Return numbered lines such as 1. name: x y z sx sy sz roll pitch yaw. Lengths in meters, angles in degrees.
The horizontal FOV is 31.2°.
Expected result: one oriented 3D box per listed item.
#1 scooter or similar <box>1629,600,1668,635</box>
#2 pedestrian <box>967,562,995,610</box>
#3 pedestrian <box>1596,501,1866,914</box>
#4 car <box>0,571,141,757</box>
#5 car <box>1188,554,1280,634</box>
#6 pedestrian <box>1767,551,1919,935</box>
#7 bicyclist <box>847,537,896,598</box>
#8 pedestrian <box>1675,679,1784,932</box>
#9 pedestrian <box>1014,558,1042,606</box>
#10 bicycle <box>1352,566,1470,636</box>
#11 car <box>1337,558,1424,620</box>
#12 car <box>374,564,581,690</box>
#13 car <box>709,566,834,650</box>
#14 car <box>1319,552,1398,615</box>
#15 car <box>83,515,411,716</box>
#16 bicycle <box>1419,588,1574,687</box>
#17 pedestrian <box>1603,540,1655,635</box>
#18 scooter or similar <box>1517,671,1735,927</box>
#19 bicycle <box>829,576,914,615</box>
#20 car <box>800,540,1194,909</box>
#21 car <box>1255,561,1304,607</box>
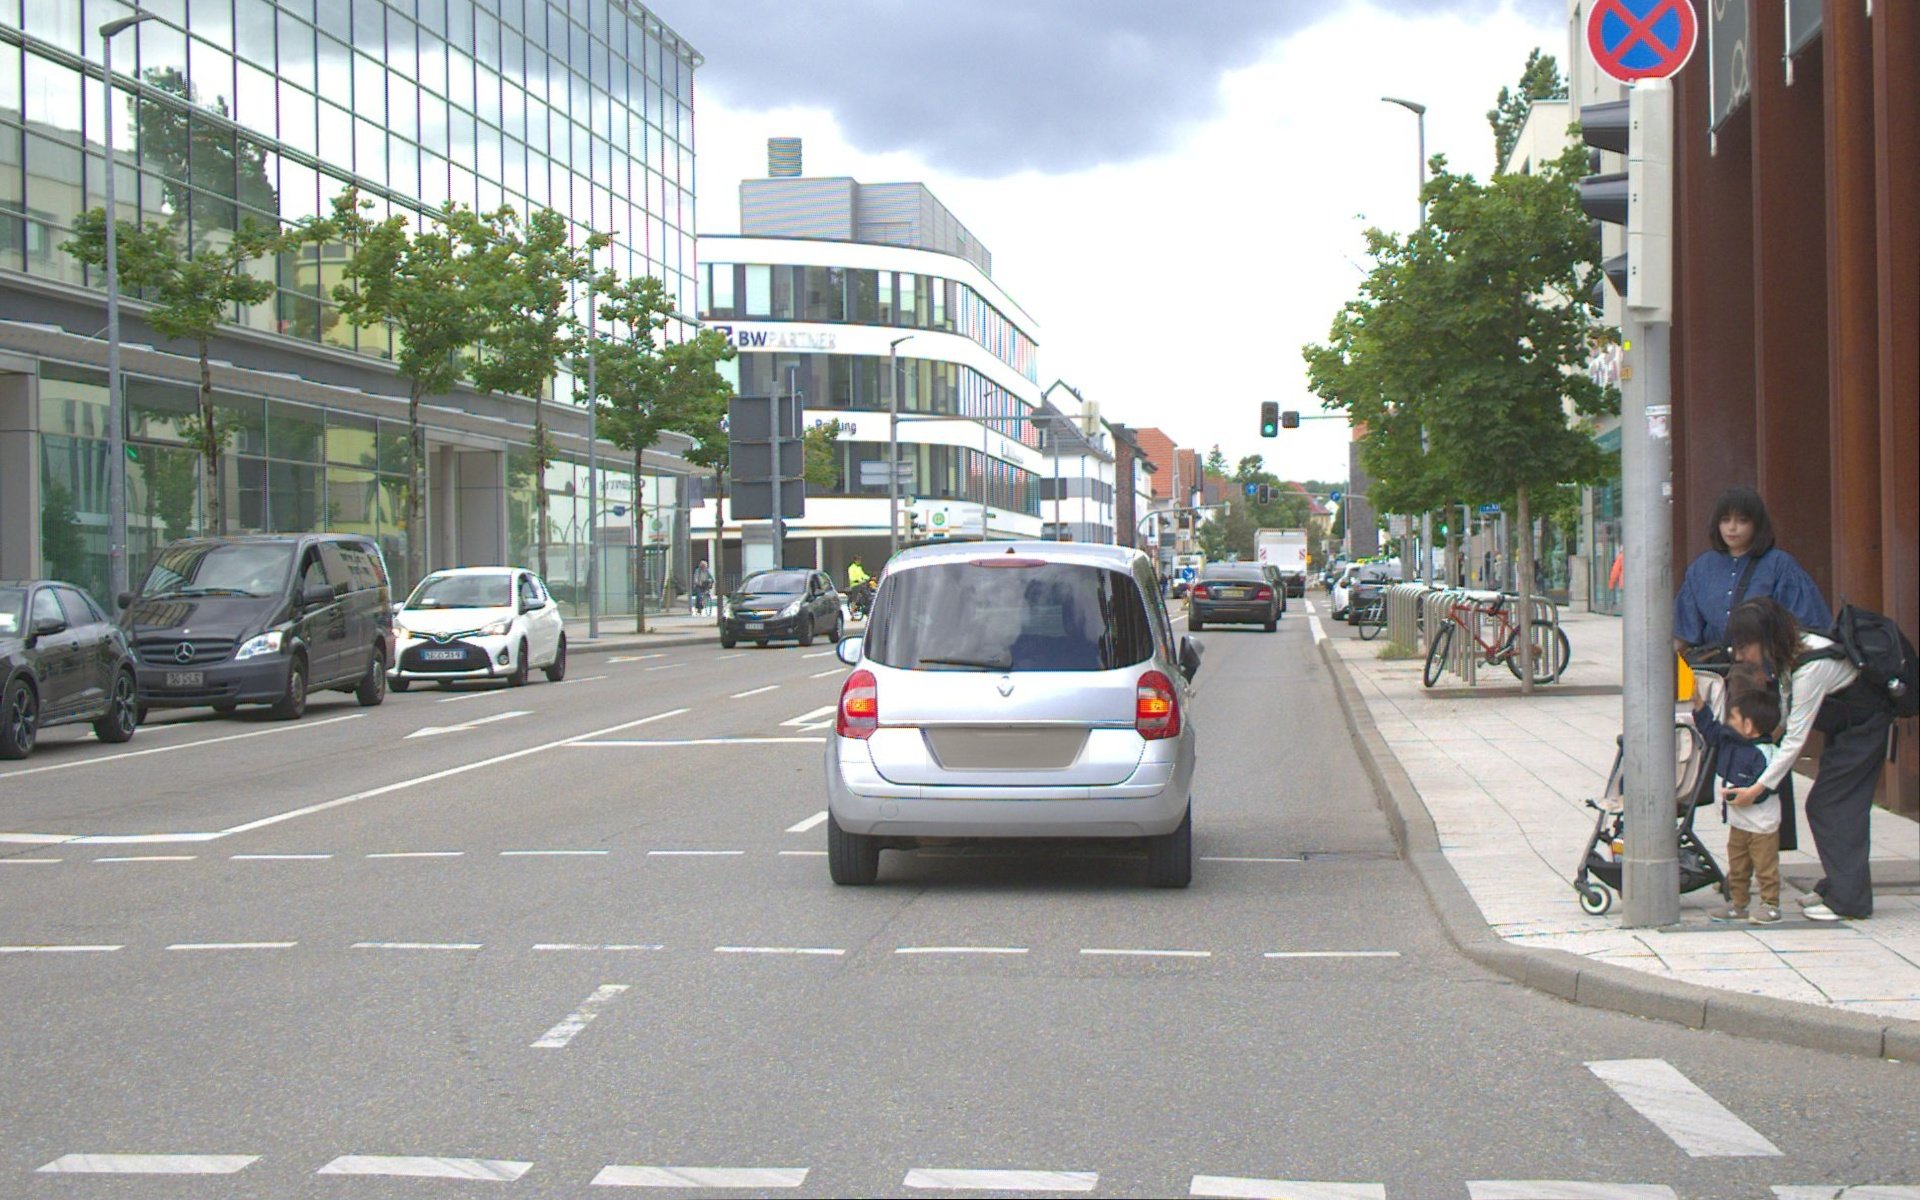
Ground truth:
1. scooter or similar: 11.570 0.293 57.773 0.550 0.544 0.642 -4 0 6
2. pedestrian: 0.813 -0.546 134.202 0.961 1.827 1.250 -1 1 6
3. pedestrian: 3.177 0.417 14.171 0.872 1.641 0.679 0 1 40
4. car: -8.227 0.489 28.514 1.702 1.438 4.000 0 1 3
5. car: 5.605 -0.141 70.020 1.670 1.549 3.641 2 1 7
6. pedestrian: 3.390 0.524 12.992 0.601 1.415 0.582 0 1 8
7. bicyclist: -2.459 -0.914 95.826 1.006 1.655 0.933 1 0 -29
8. pedestrian: 2.911 0.771 13.028 0.362 0.921 0.454 0 1 8
9. pedestrian: 2.652 -0.689 133.539 0.961 1.827 1.250 -1 1 6
10. bicycle: 7.268 0.015 55.461 1.825 1.071 0.752 -2 1 4
11. car: 9.692 -0.266 79.484 1.878 1.330 3.999 2 1 6
12. car: -6.050 0.307 43.493 1.660 1.460 3.999 -1 1 6
13. car: -3.529 0.129 64.971 1.660 1.475 3.999 -1 1 7
14. car: 9.943 -0.429 85.968 1.878 1.503 3.999 2 1 6
15. car: -7.320 0.116 35.843 1.866 1.903 5.113 -1 1 6
16. bicycle: 5.548 0.384 35.576 1.561 0.989 0.752 -1 1 9
17. pedestrian: 11.397 -0.221 58.593 0.710 1.569 0.812 -4 0 6
18. scooter or similar: 2.659 0.778 13.722 0.634 0.958 0.619 0 1 39
19. bicycle: -2.476 -0.123 95.818 1.006 1.015 3.130 1 0 -29
20. car: 0.261 0.508 16.690 1.670 1.549 3.642 1 1 3
21. car: 14.558 -0.752 156.475 2.170 2.007 4.257 -1 1 6
